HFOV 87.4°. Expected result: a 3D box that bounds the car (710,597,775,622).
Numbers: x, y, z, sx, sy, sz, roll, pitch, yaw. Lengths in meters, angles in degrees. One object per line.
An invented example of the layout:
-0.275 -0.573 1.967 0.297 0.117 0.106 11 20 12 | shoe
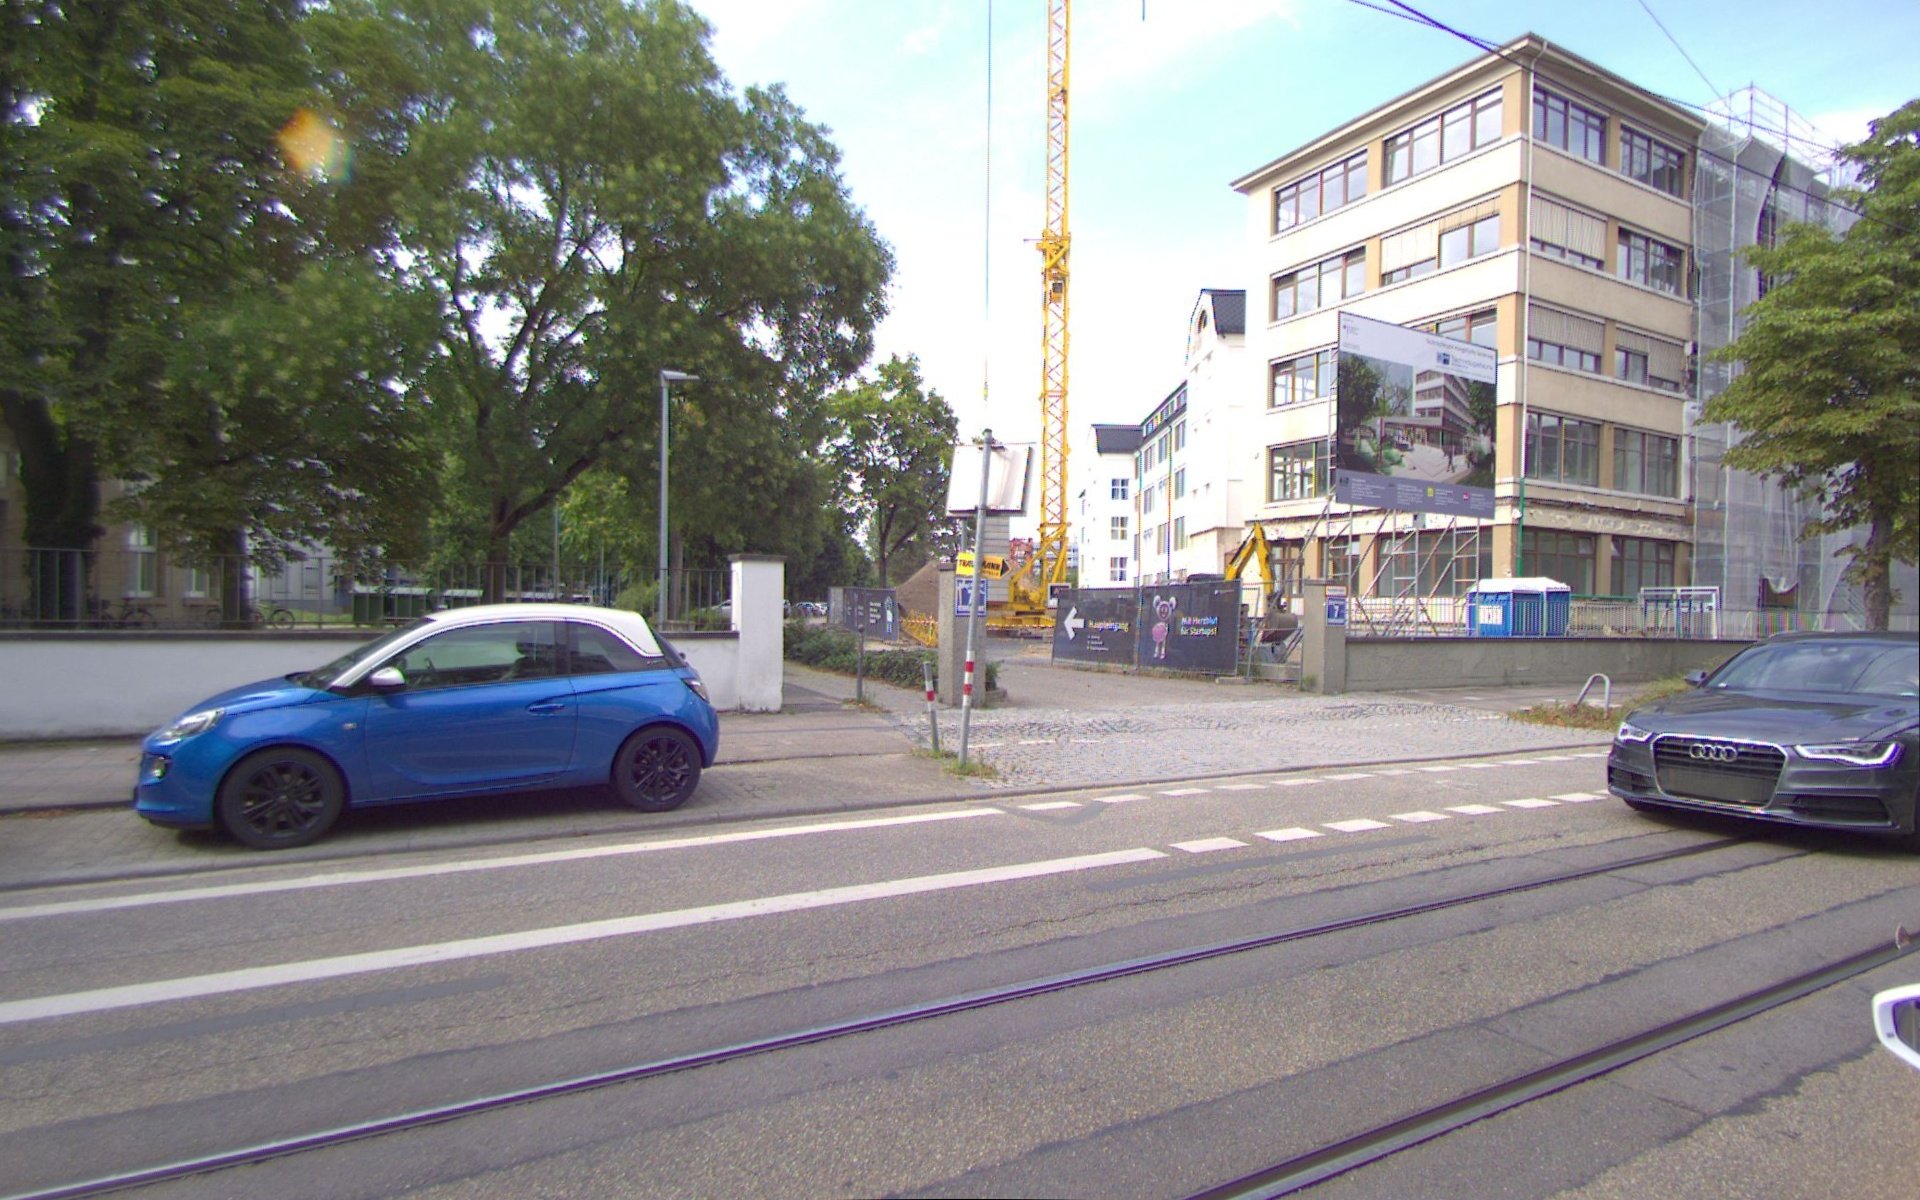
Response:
-13.951 0.600 64.517 3.927 1.518 1.911 1 0 -9 | car

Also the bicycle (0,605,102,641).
-21.959 0.549 24.101 2.010 0.783 0.713 1 1 -9 | bicycle

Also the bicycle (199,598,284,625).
-22.174 0.358 31.021 2.010 0.783 0.713 1 1 -9 | bicycle

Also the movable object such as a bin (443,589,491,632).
-16.437 0.348 33.523 1.180 1.393 0.861 1 1 -3 | movable object such as a bin

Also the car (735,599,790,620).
-14.899 0.699 75.887 3.927 1.518 1.911 1 0 -9 | car

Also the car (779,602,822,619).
-15.076 0.984 94.926 3.927 1.518 1.911 1 0 -9 | car

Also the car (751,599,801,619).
-15.055 0.705 82.315 3.927 1.518 1.911 1 0 -9 | car

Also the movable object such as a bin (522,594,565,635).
-13.781 0.467 33.250 1.073 1.290 0.861 1 1 -3 | movable object such as a bin

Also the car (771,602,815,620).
-15.278 1.014 92.260 3.927 1.518 1.911 1 0 -9 | car

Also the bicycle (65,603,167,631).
-22.464 0.458 26.790 2.028 0.718 0.707 1 1 -37 | bicycle

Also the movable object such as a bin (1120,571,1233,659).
5.399 0.362 25.160 1.935 2.095 1.979 1 0 -27 | movable object such as a bin

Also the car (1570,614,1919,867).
6.997 0.890 7.916 4.500 1.467 1.826 1 0 -30 | car

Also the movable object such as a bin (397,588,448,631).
-17.857 0.314 33.397 1.180 1.393 0.970 1 1 -3 | movable object such as a bin

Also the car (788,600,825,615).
-16.525 0.812 108.409 3.927 1.518 1.911 1 0 -9 | car

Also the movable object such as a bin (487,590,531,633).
-15.015 0.383 33.472 1.073 1.393 0.861 1 1 -3 | movable object such as a bin

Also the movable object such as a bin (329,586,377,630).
-20.148 0.259 33.364 1.001 1.393 0.970 1 1 -3 | movable object such as a bin

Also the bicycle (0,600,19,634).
-21.882 0.351 21.831 2.010 0.718 0.713 1 1 -9 | bicycle

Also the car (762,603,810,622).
-14.850 1.089 85.751 3.927 1.518 1.911 1 0 -9 | car

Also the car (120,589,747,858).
-3.592 0.728 7.339 3.634 1.507 1.685 1 1 -30 | car

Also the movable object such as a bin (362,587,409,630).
-19.079 0.285 33.397 1.001 1.393 0.970 1 1 -3 | movable object such as a bin

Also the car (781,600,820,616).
-16.546 0.848 104.291 3.927 1.518 1.911 1 0 -9 | car

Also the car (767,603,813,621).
-14.979 1.058 88.555 3.927 1.518 1.911 1 0 -9 | car

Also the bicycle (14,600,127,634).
-22.147 0.419 25.041 2.010 0.783 0.713 1 1 -9 | bicycle
